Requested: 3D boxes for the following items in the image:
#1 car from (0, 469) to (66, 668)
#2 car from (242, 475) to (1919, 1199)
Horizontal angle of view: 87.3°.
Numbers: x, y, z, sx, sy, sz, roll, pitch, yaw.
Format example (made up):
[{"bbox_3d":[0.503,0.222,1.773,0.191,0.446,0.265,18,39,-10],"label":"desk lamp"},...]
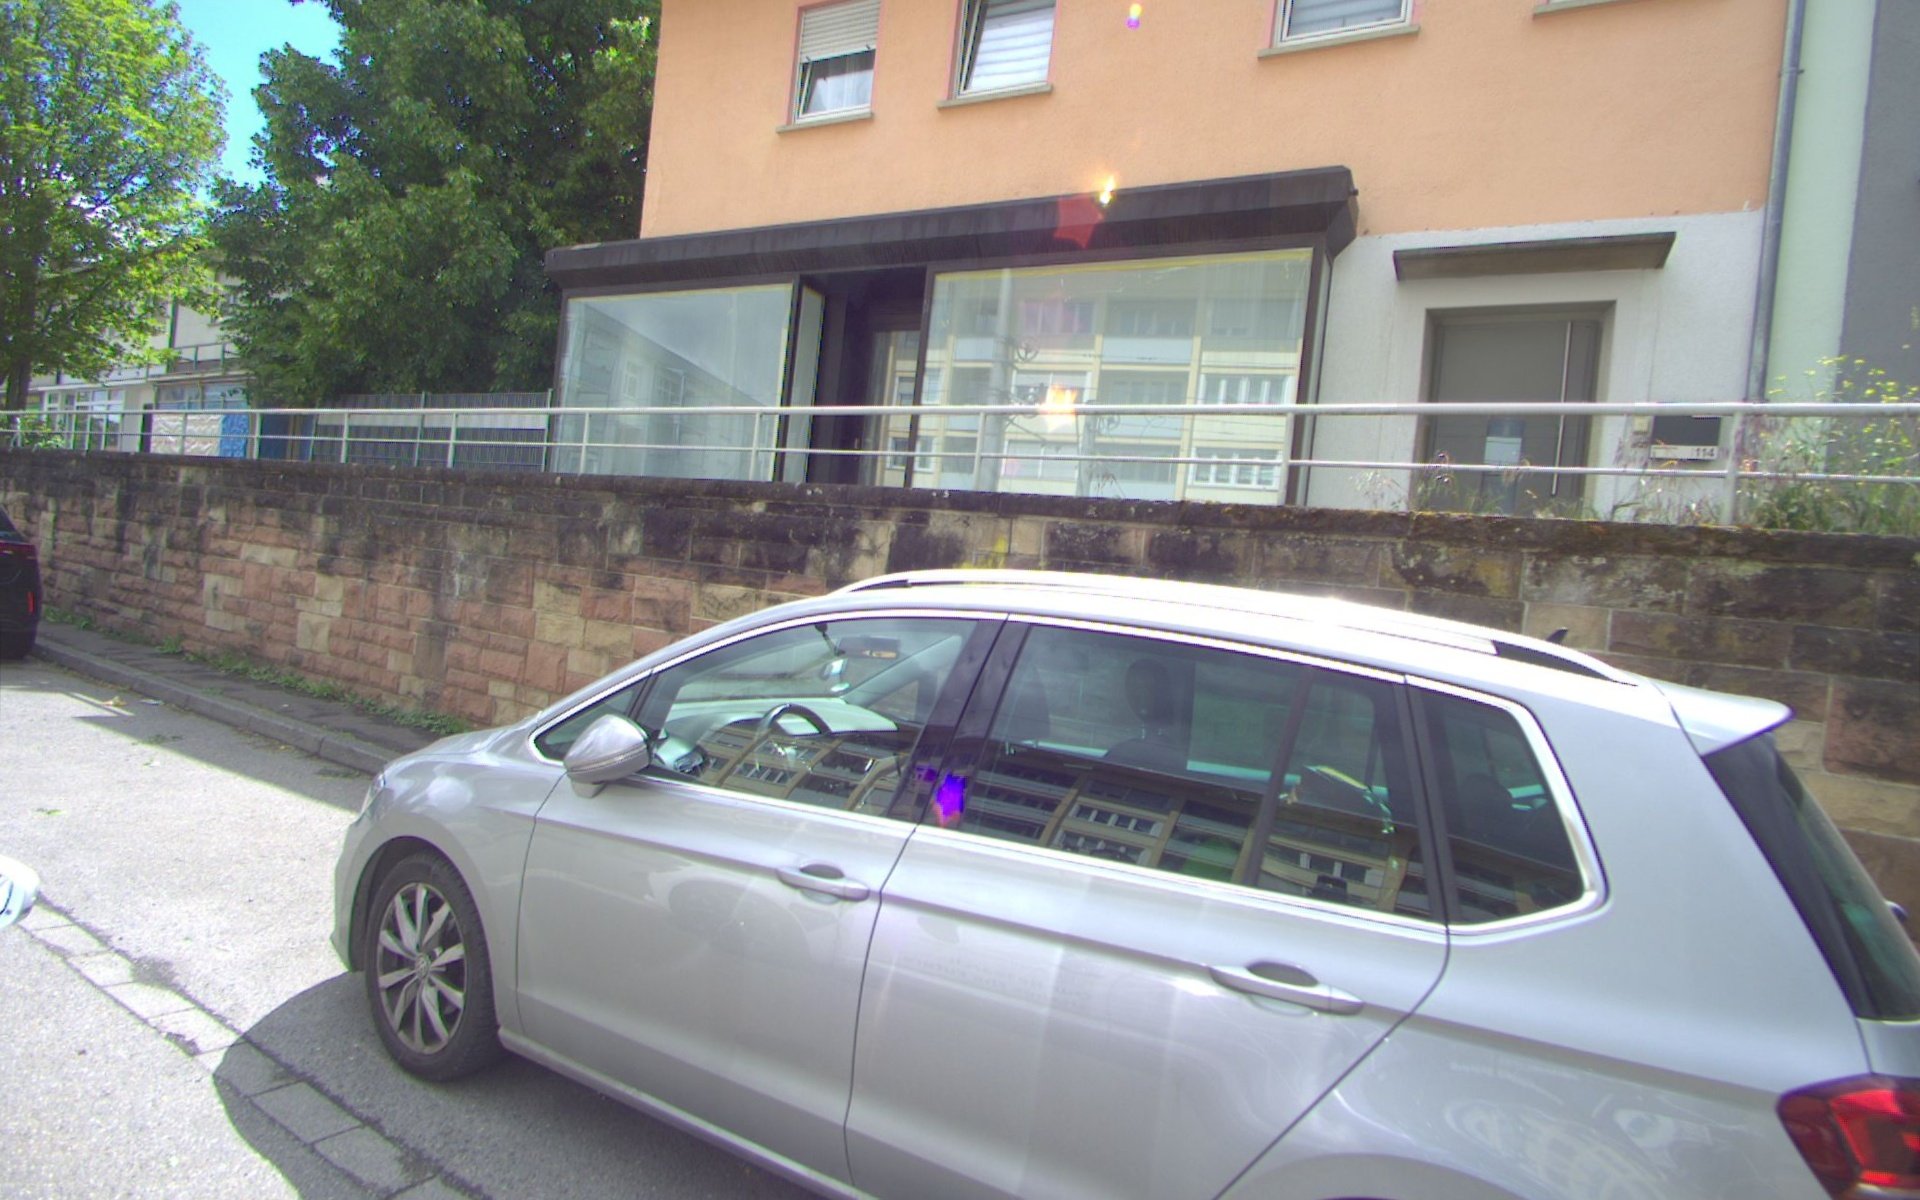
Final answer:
[{"bbox_3d":[-9.950,-0.469,9.003,3.935,1.660,1.852,6,1,33],"label":"car"},{"bbox_3d":[-0.013,0.668,2.941,4.177,1.638,1.791,7,1,31],"label":"car"}]
